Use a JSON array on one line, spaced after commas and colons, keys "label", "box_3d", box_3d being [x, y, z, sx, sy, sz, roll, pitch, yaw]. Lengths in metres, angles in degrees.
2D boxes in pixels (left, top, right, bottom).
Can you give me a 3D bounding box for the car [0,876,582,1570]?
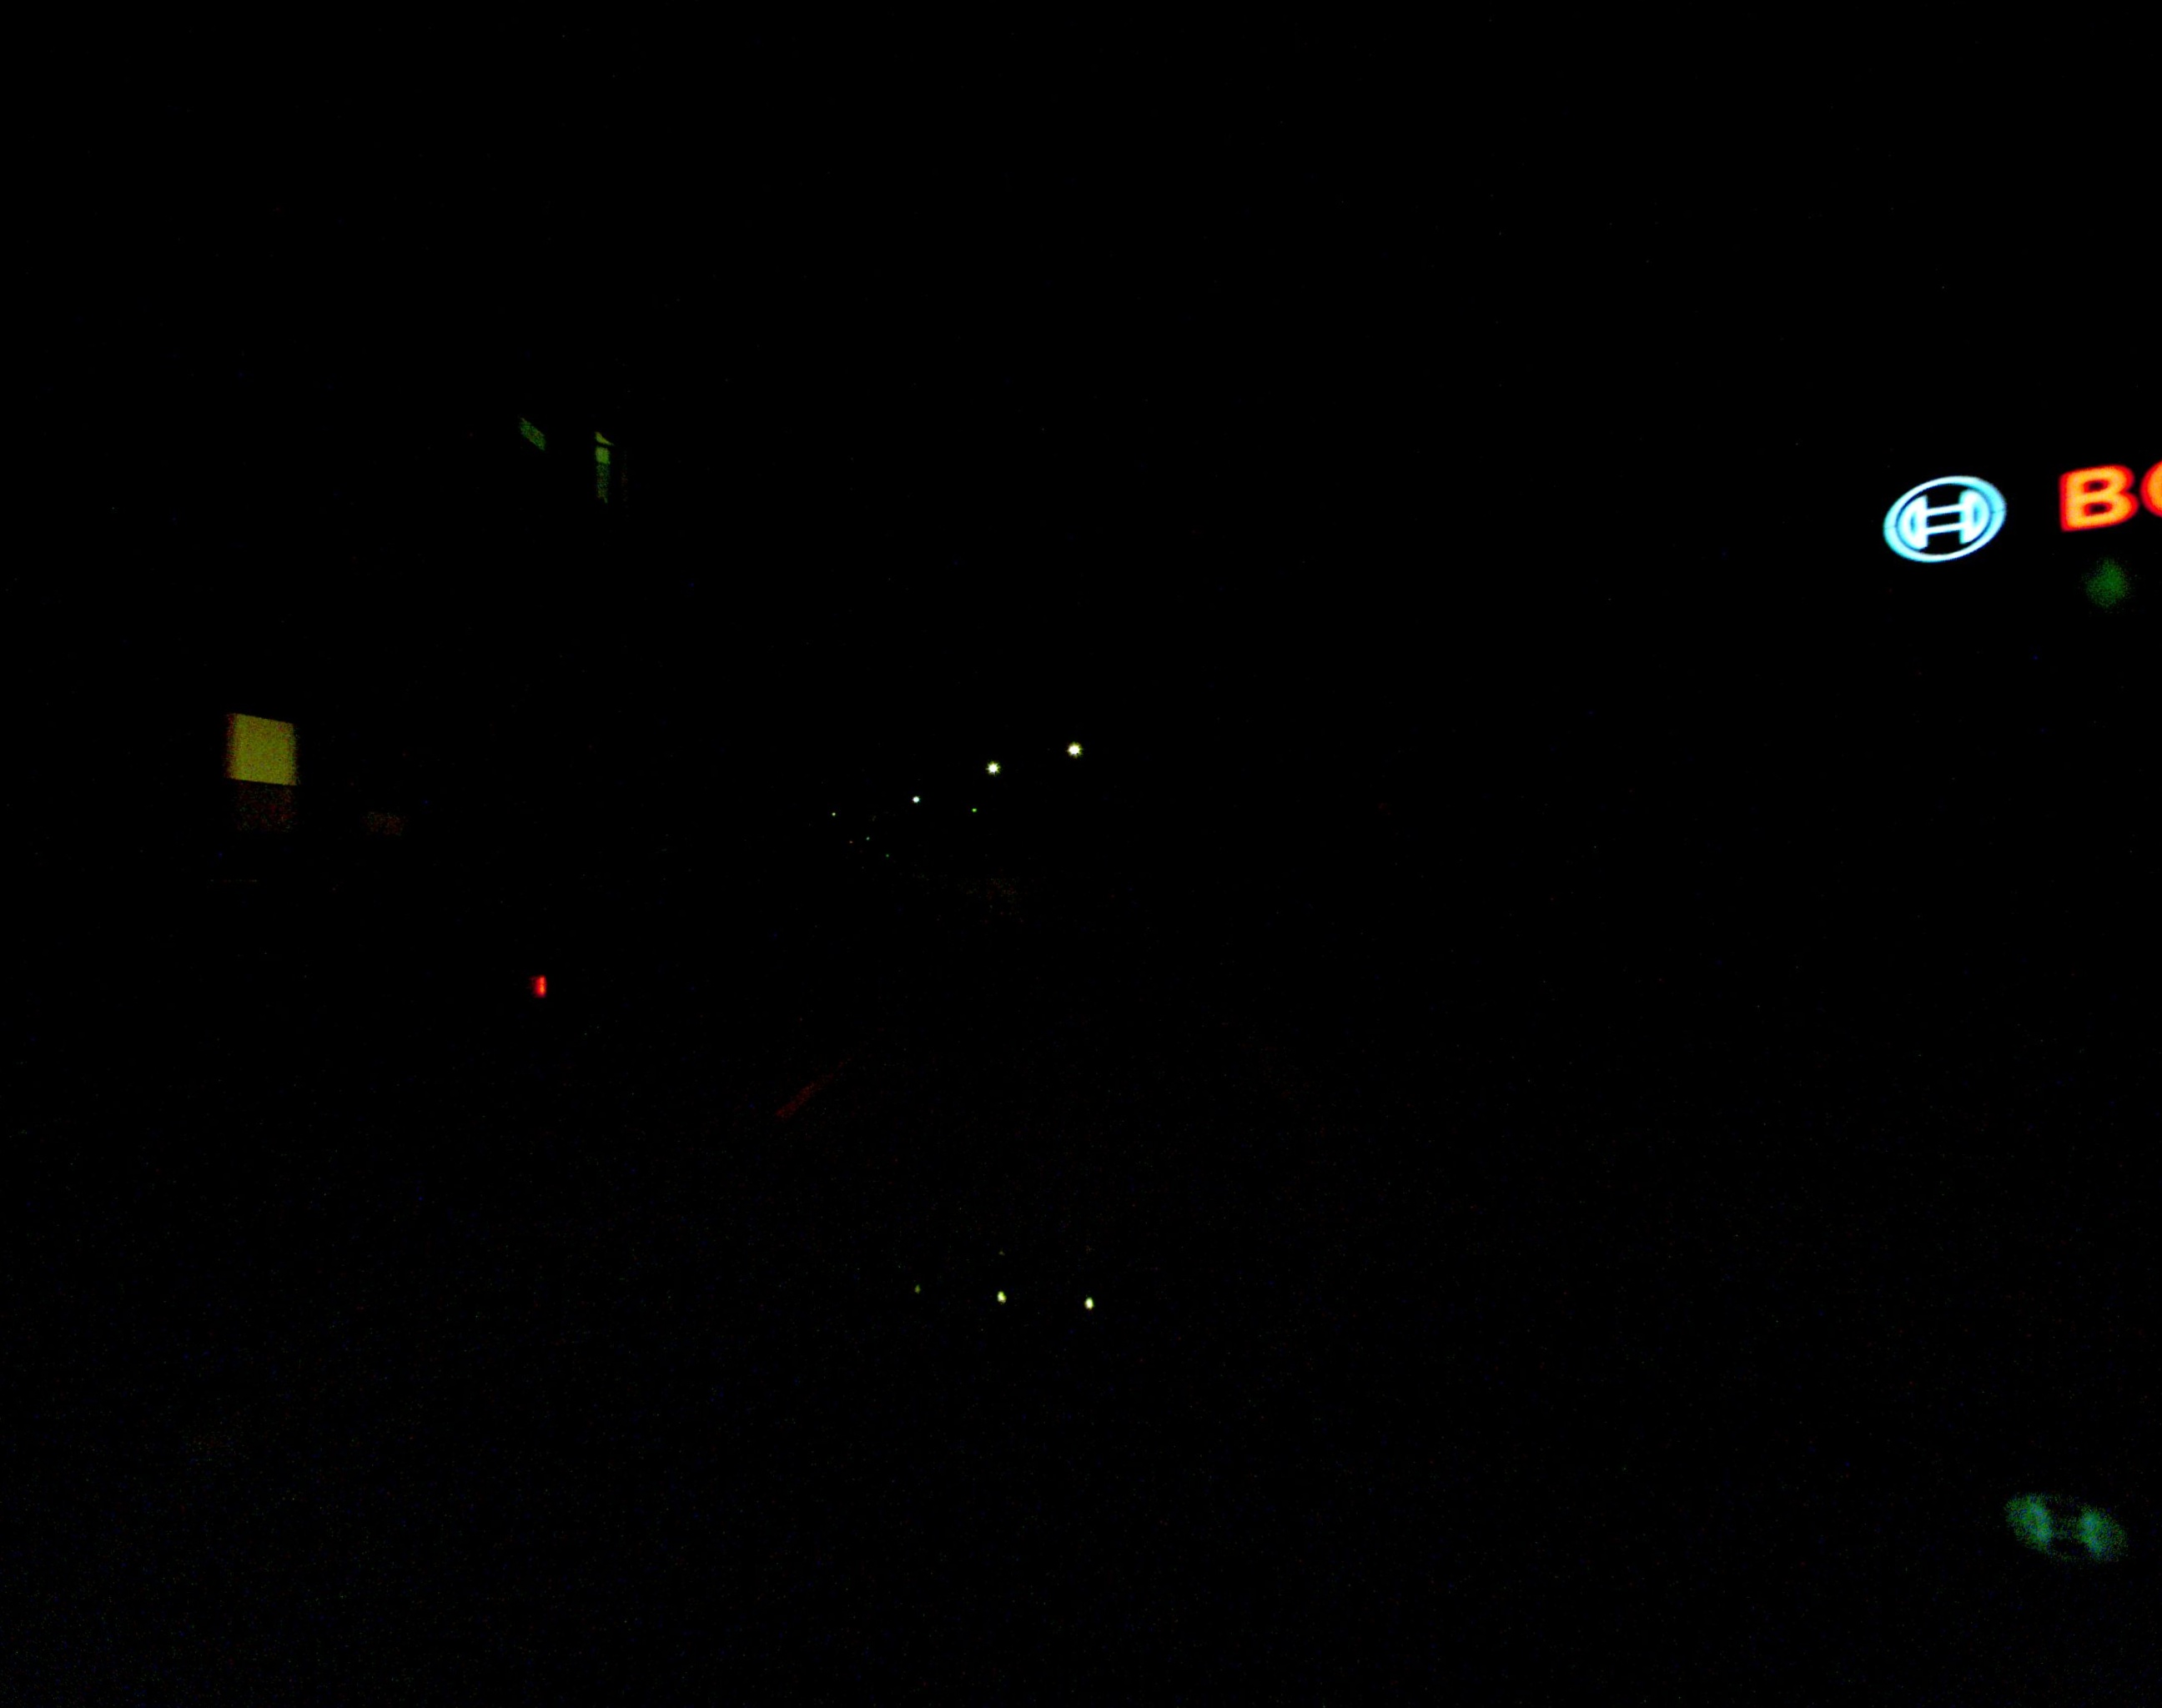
[{"label": "car", "box_3d": [-3.497, 0.971, 1.836, 1.674, 1.601, 4.229, -1, 1, 1]}]
